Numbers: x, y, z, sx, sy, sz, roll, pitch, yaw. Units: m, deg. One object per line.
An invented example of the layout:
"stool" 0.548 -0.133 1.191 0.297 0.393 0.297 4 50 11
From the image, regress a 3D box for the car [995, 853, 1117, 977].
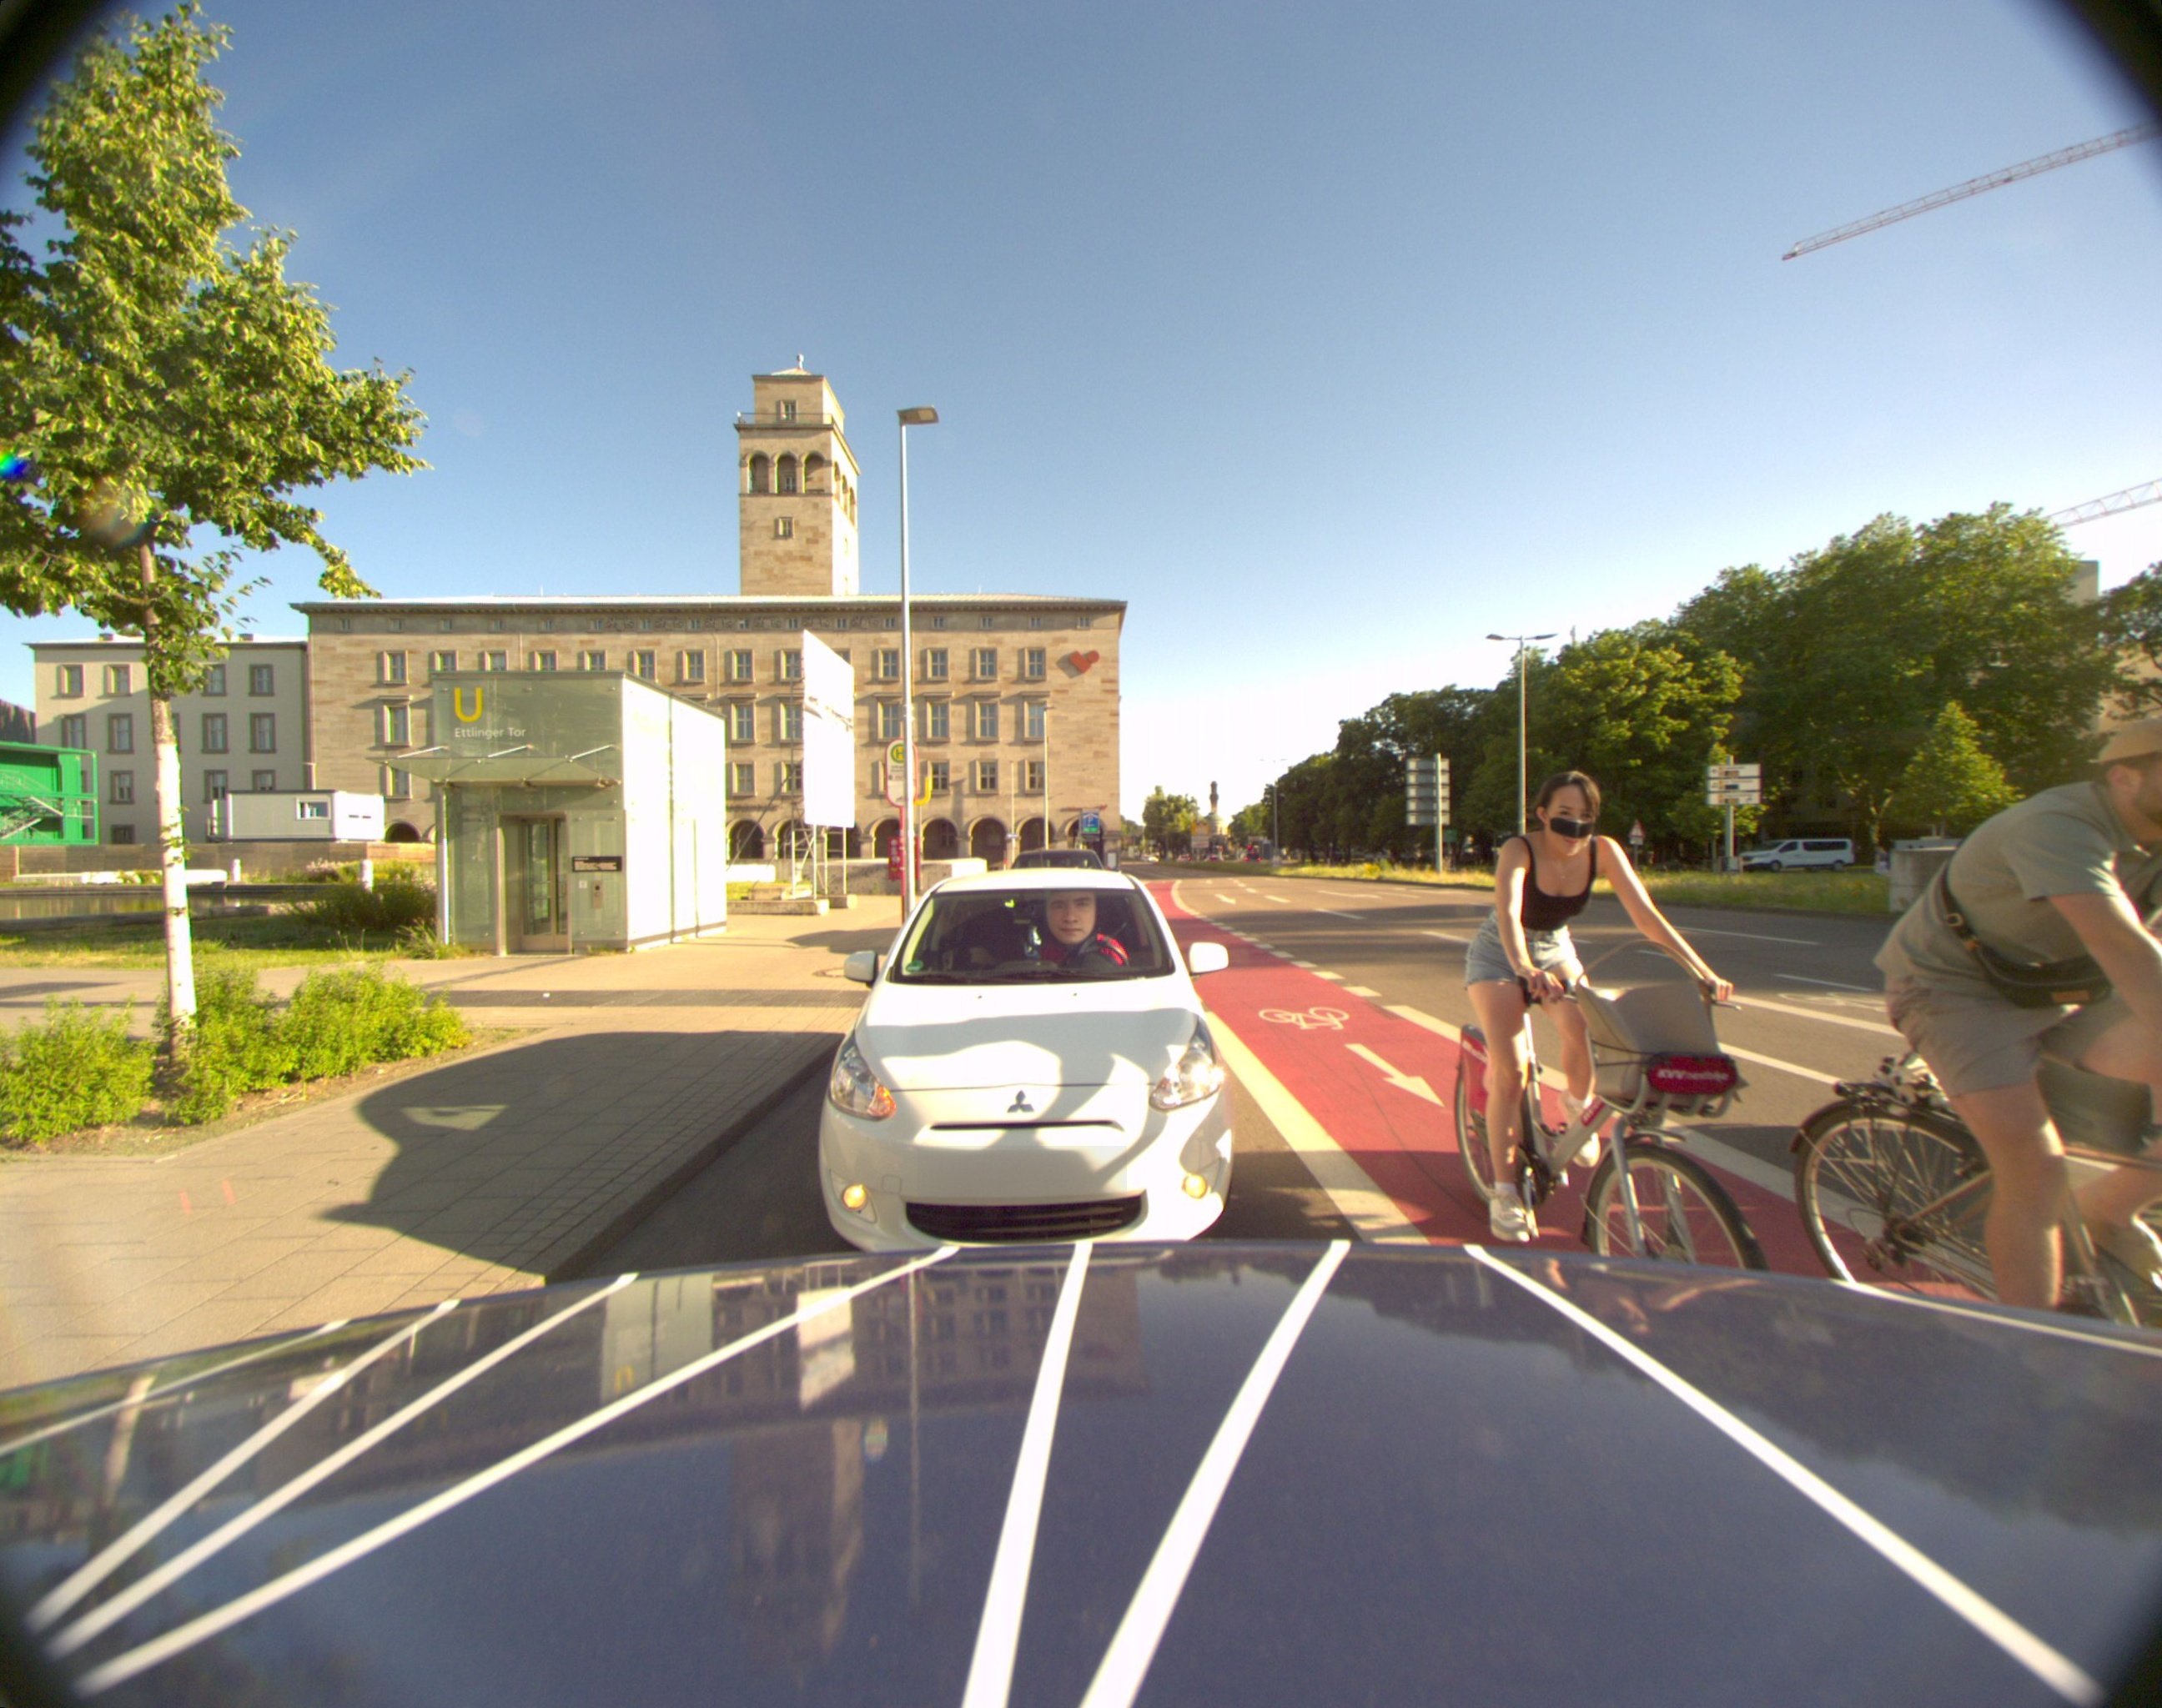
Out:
"car" -0.373 0.841 12.515 1.642 1.653 3.849 -2 0 -1

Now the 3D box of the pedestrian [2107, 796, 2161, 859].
"pedestrian" 34.745 -0.859 24.821 0.940 2.002 1.137 -2 1 -5

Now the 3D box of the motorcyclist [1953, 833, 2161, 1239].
"motorcyclist" 4.276 0.656 2.935 0.727 1.466 0.917 -2 0 1

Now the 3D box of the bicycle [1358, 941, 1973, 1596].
"bicycle" 1.633 1.020 2.595 0.617 1.211 1.831 -2 0 -2

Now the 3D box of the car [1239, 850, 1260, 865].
"car" 21.560 0.441 97.153 1.819 1.817 3.999 -2 1 1

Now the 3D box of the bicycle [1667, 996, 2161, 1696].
"bicycle" 2.374 1.054 1.627 0.648 1.103 1.970 -2 0 -2

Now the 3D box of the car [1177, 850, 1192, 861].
"car" 16.362 0.247 120.471 1.849 1.677 3.999 -2 1 1

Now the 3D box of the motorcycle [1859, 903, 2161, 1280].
"motorcycle" 4.284 0.900 2.881 0.724 1.286 1.884 -2 0 1

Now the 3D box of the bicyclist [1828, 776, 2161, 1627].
"bicyclist" 2.357 0.642 1.591 0.718 1.596 0.841 -2 1 -2

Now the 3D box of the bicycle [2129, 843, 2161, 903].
"bicycle" 33.061 0.557 22.092 0.841 1.800 3.082 -2 -1 -1

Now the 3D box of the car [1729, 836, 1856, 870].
"car" 42.132 -0.047 45.108 5.516 1.924 2.065 -1 1 2

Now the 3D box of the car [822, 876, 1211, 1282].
"car" -0.233 0.955 4.835 1.496 1.477 3.604 -2 0 1

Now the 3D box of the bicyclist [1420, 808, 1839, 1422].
"bicyclist" 1.625 0.676 2.411 0.643 1.570 0.875 -2 1 -2

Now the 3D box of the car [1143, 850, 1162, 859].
"car" 14.346 0.028 153.025 1.853 1.677 3.991 -3 1 -27

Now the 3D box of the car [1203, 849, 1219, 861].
"car" 20.582 0.129 120.437 1.747 1.778 3.947 -2 1 1

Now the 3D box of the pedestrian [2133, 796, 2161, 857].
"pedestrian" 35.753 -0.912 24.929 0.940 2.002 1.137 -2 1 -5

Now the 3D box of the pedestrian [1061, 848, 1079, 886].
"pedestrian" -0.747 0.870 51.213 1.122 2.524 1.055 -2 1 1

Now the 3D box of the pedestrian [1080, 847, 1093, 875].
"pedestrian" 0.494 0.629 68.366 1.122 2.524 1.055 -2 1 1
